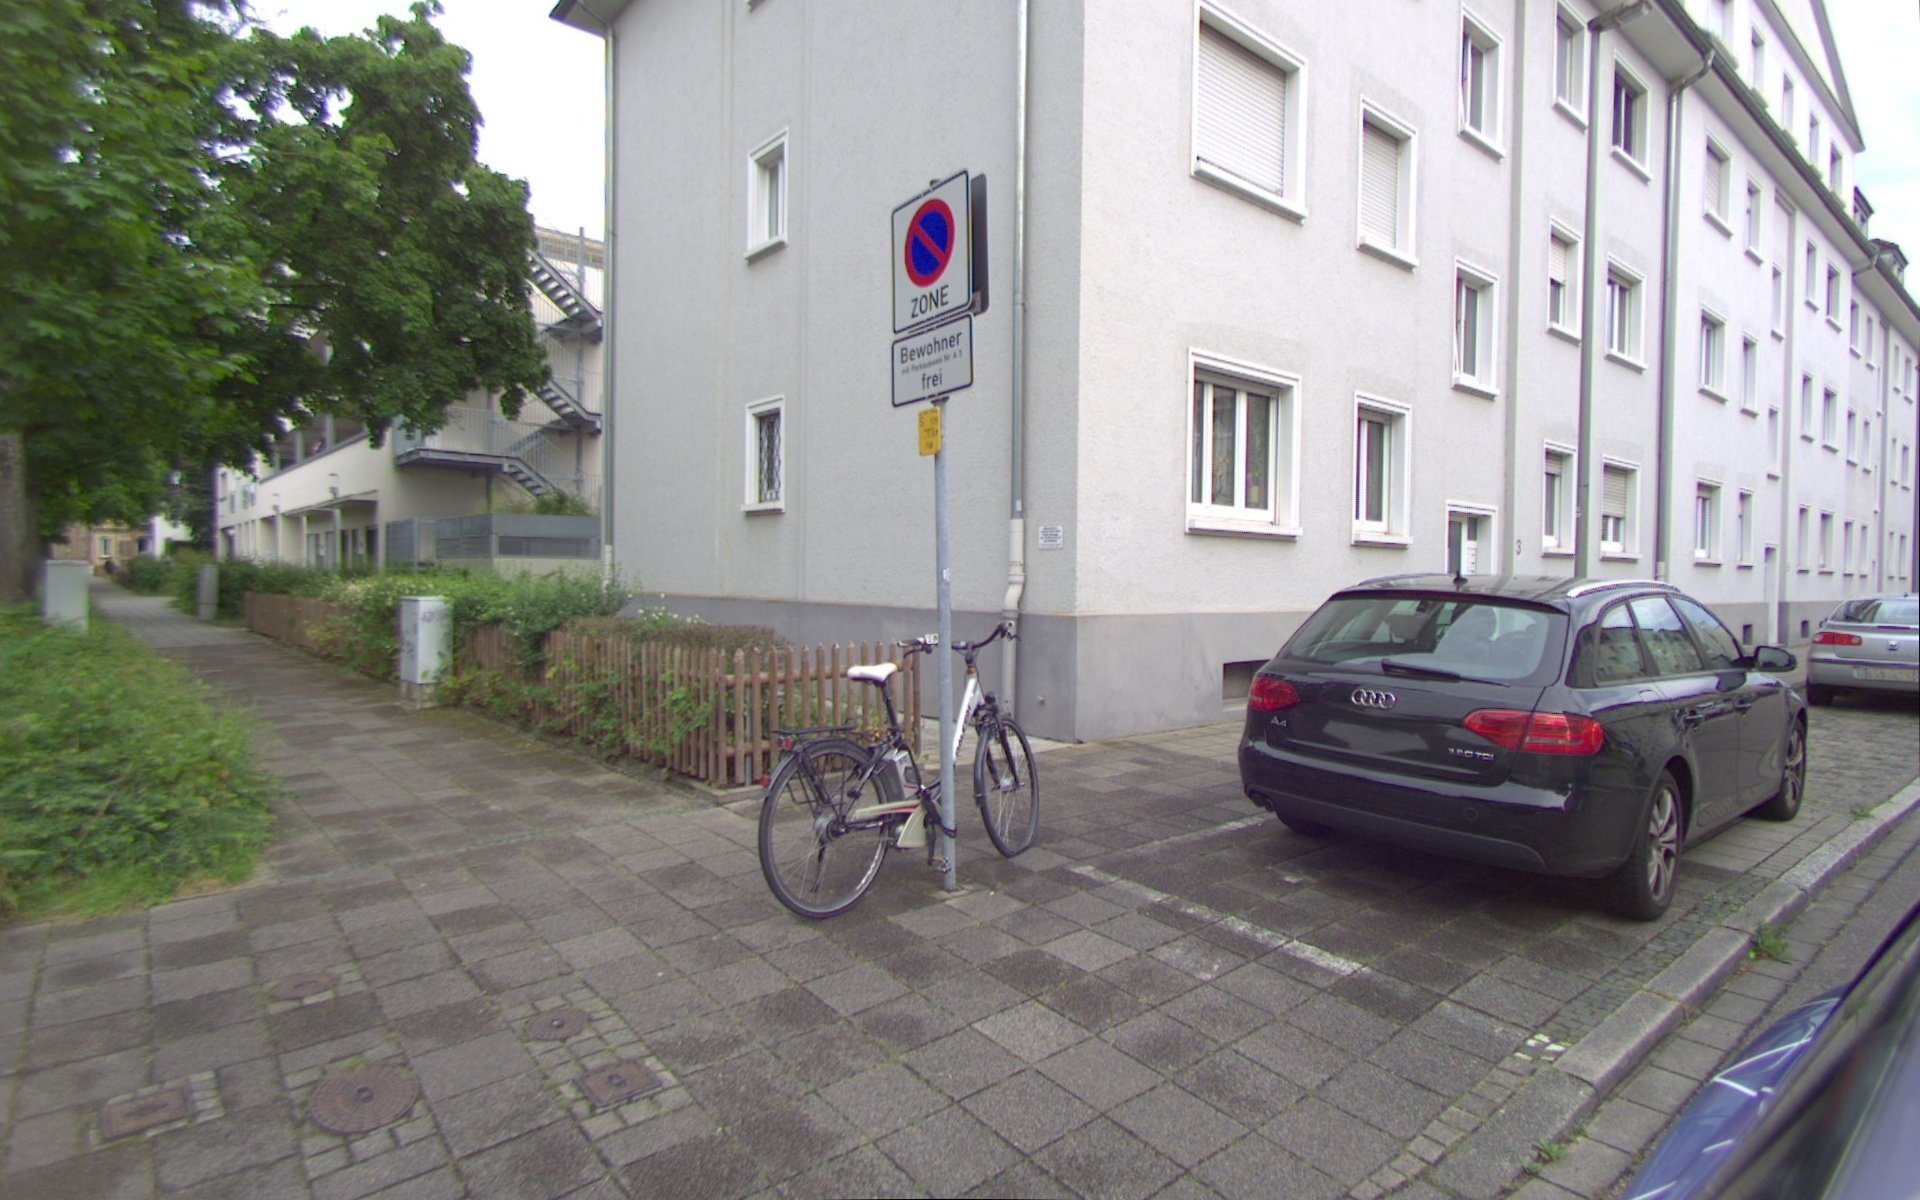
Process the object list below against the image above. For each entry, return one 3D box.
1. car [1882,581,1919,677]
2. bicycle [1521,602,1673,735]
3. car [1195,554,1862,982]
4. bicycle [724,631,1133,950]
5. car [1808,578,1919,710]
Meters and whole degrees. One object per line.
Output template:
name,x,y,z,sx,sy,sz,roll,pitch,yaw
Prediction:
car,16.821,0.461,16.794,4.248,1.480,1.785,0,2,-42
bicycle,6.639,0.656,10.510,1.861,1.215,0.750,0,3,-40
car,3.510,0.546,5.770,4.644,1.480,1.864,0,2,-41
bicycle,-0.068,0.720,4.485,1.855,1.016,0.569,-3,5,-40
car,12.485,0.505,13.050,4.354,1.481,1.735,0,2,-42
